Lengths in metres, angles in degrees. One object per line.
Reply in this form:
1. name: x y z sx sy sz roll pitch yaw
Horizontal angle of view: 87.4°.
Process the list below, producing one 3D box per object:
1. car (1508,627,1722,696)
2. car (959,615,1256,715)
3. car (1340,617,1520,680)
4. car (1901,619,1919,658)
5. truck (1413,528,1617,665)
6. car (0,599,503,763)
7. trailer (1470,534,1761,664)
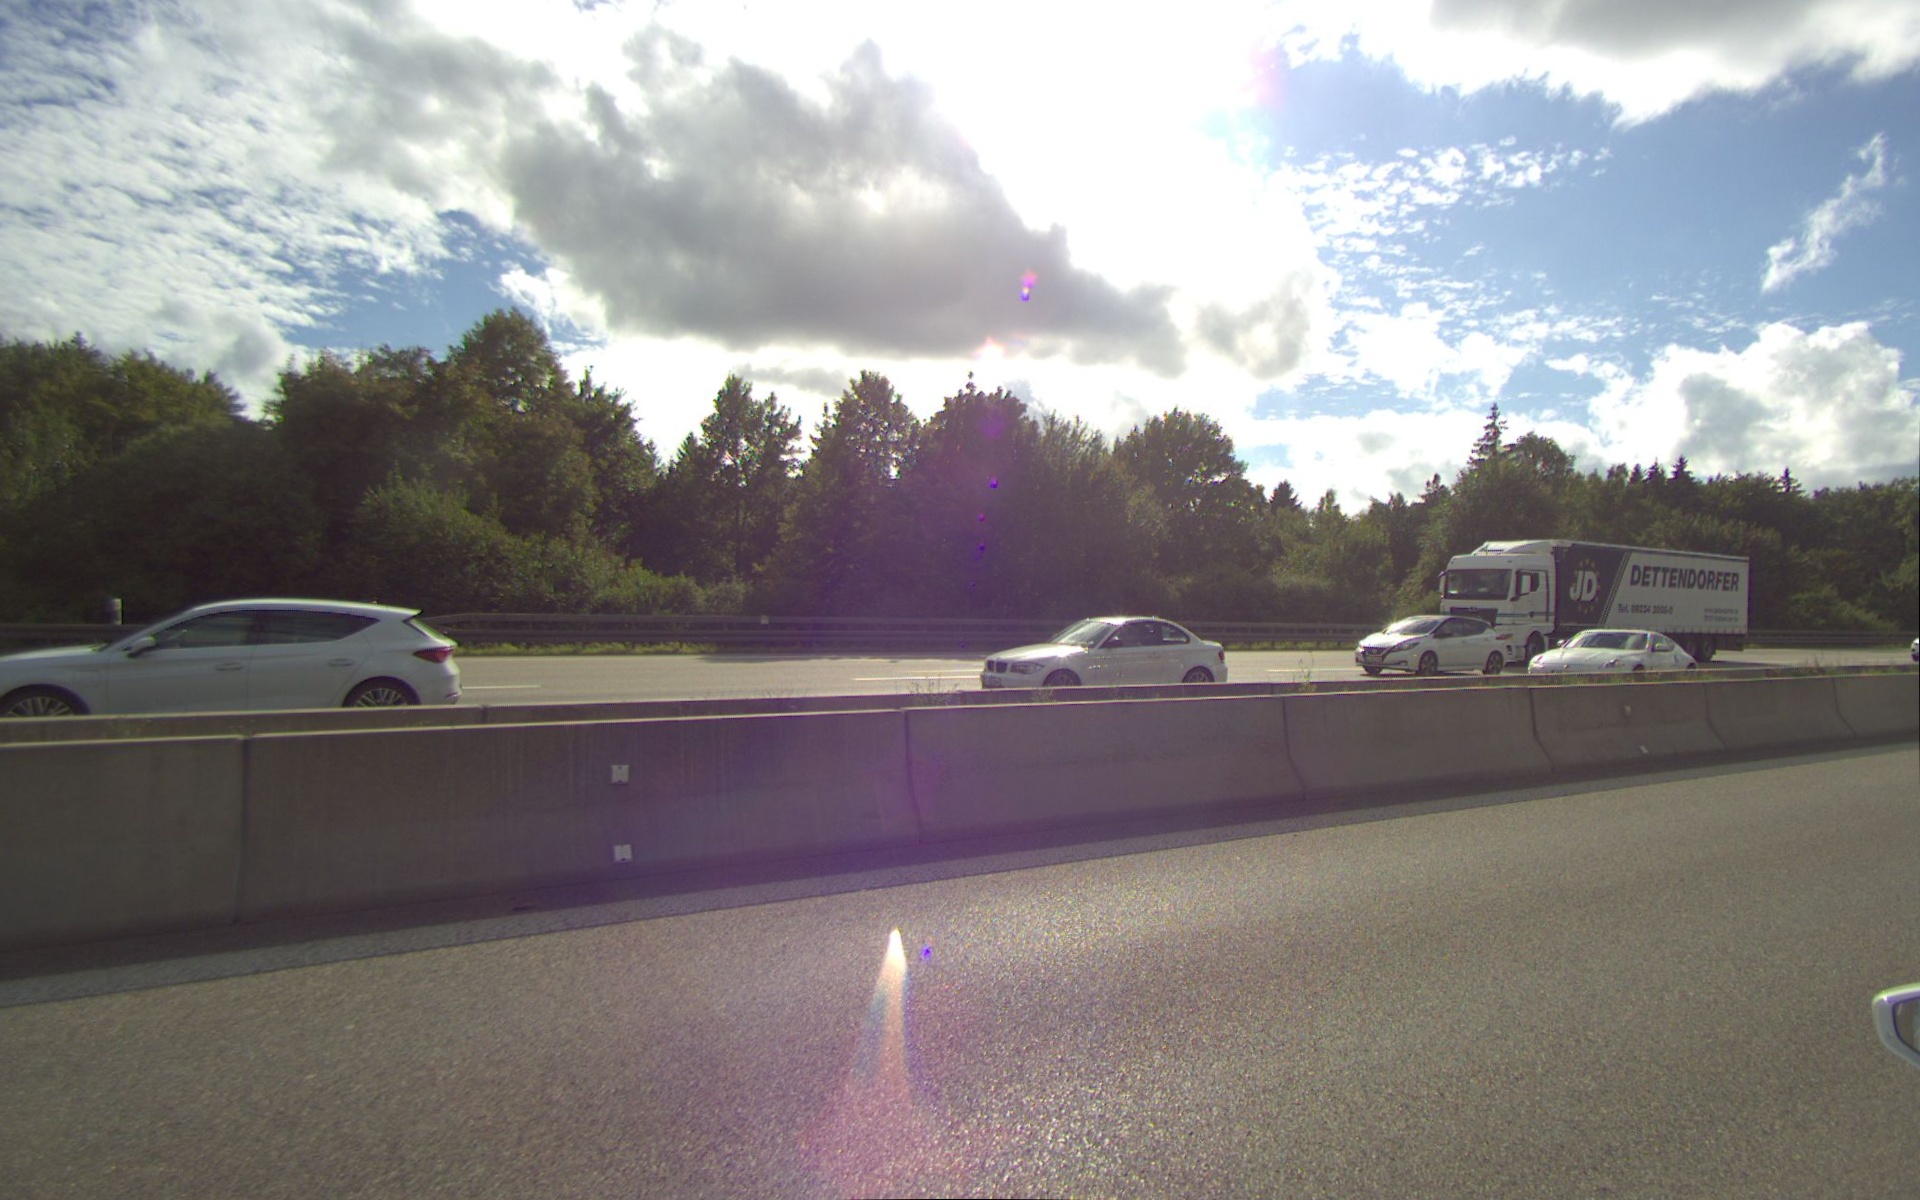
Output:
1. car: 12.929 1.152 19.766 4.464 1.176 1.801 1 0 -32
2. car: 2.434 0.991 16.222 4.655 1.415 1.675 1 0 -28
3. car: 12.227 1.217 26.056 4.743 1.472 1.803 1 0 -29
4. car: 43.464 1.707 44.053 4.983 1.639 1.786 1 0 -29
5. truck: 18.590 -0.047 33.612 6.154 4.161 3.301 1 0 -31
6. car: -7.396 0.746 10.448 4.638 1.413 1.760 1 0 -32
7. trailer: 24.726 0.109 37.398 13.993 4.161 3.301 1 0 -31
